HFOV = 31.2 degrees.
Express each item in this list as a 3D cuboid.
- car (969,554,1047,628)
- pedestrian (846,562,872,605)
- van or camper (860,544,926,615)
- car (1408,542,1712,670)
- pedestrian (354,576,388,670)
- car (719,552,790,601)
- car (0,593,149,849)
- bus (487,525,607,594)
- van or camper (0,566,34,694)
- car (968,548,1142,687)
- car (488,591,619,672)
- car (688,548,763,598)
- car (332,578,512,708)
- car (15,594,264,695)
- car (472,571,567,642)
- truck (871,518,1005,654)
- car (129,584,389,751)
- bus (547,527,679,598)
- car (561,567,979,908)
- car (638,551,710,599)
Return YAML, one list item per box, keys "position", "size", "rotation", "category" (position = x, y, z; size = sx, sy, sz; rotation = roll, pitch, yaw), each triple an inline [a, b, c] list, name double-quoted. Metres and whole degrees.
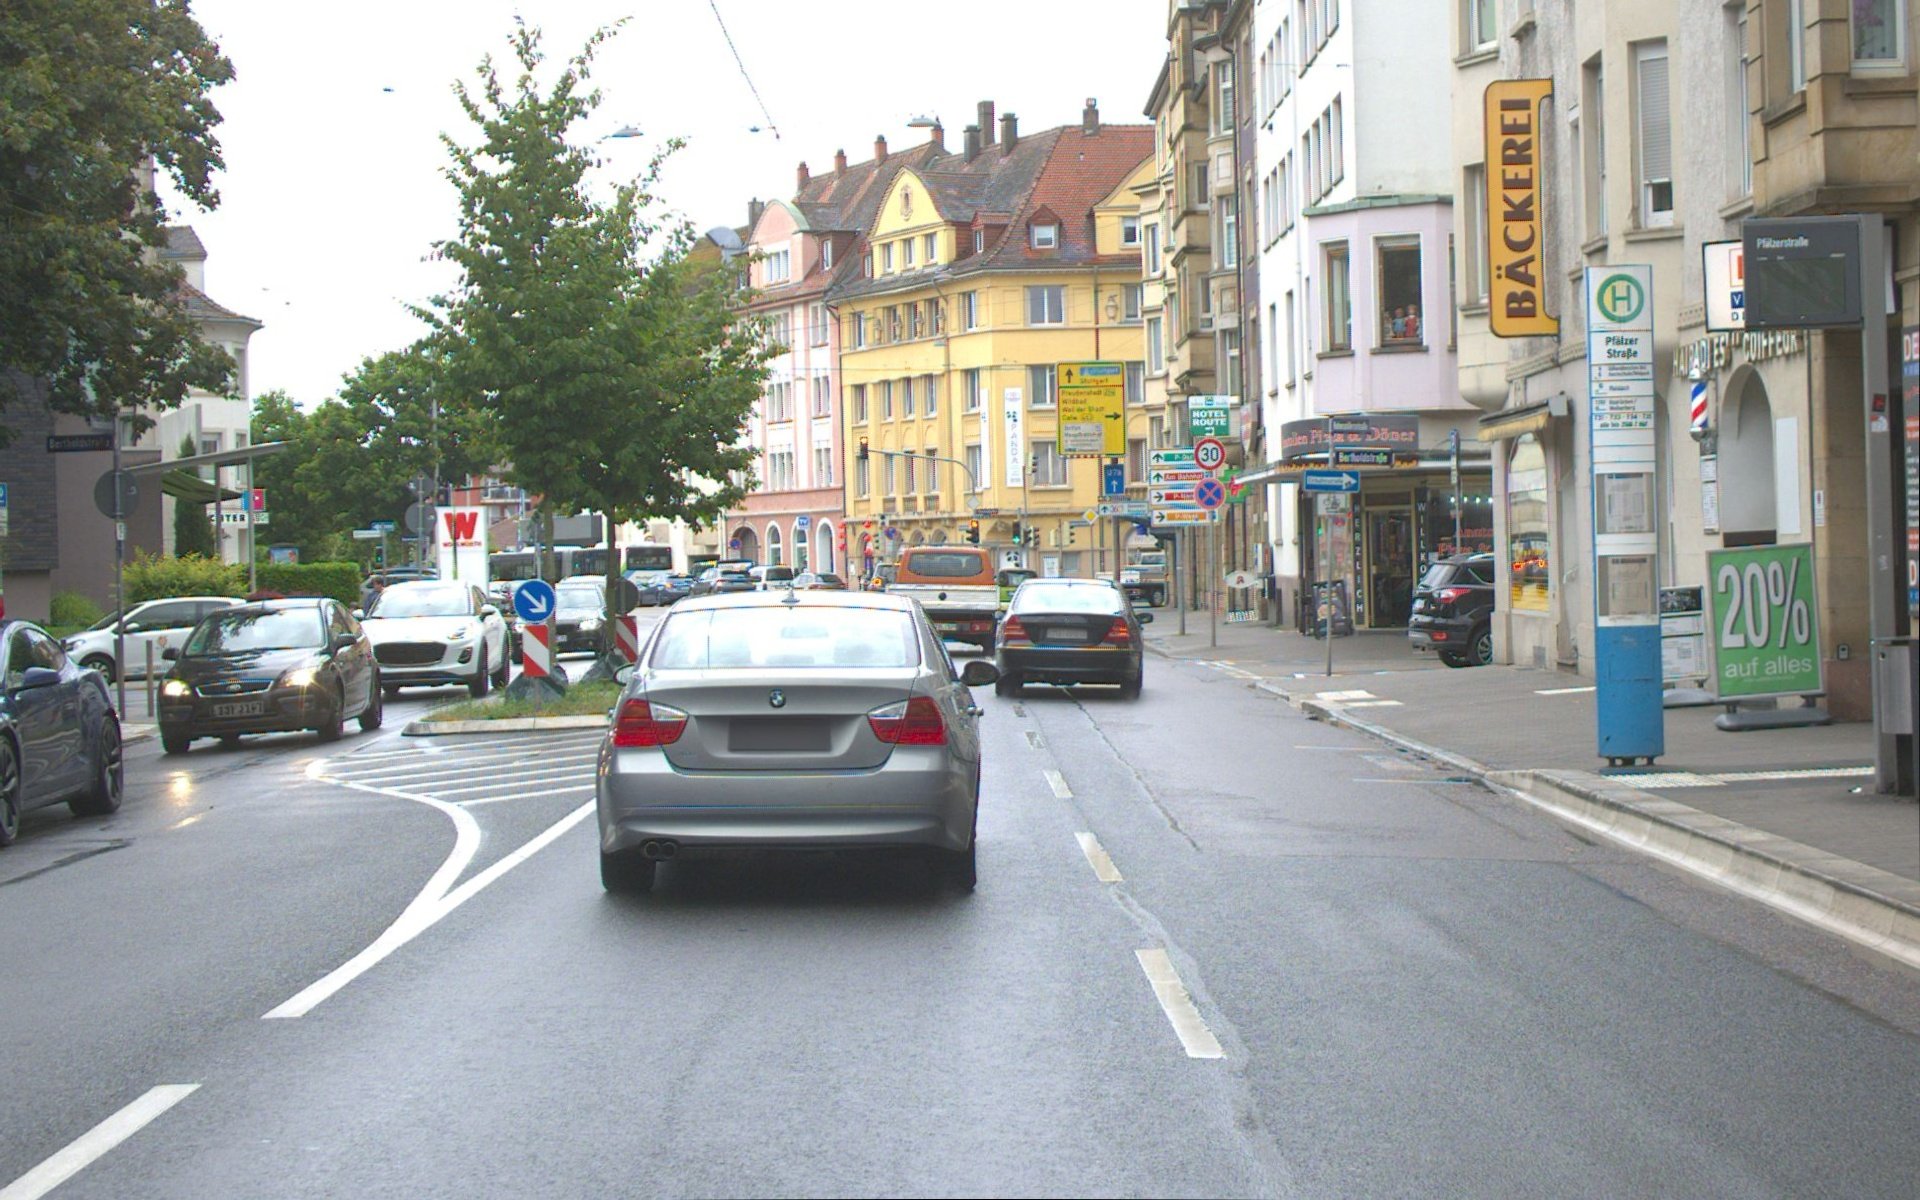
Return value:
- position: [1.326, -0.263, 95.918]
  size: [1.993, 2.007, 4.000]
  rotation: [-1, 0, -1]
  category: "car"
- position: [-3.551, -0.578, 120.717]
  size: [0.760, 1.524, 0.508]
  rotation: [1, -1, -21]
  category: "pedestrian"
- position: [-2.126, -0.653, 107.430]
  size: [1.854, 2.139, 4.143]
  rotation: [1, 1, -3]
  category: "van or camper"
- position: [8.536, 0.077, 49.177]
  size: [4.139, 1.766, 1.873]
  rotation: [0, 1, 6]
  category: "car"
- position: [-11.208, 0.433, 65.392]
  size: [0.574, 1.756, 0.581]
  rotation: [-1, 0, -7]
  category: "pedestrian"
- position: [-9.372, -1.084, 156.465]
  size: [1.761, 2.173, 4.001]
  rotation: [2, 0, -26]
  category: "car"
- position: [-6.873, 0.777, 22.621]
  size: [1.955, 1.506, 4.913]
  rotation: [-3, 1, -1]
  category: "car"
- position: [-19.755, -1.900, 163.955]
  size: [2.908, 3.094, 8.873]
  rotation: [-2, 1, -25]
  category: "bus"
- position: [-17.255, 0.476, 53.895]
  size: [4.951, 2.007, 2.000]
  rotation: [0, 1, -30]
  category: "van or camper"
- position: [1.077, 0.202, 40.809]
  size: [1.799, 1.558, 4.000]
  rotation: [-1, 0, -2]
  category: "car"
- position: [-7.888, 0.588, 67.027]
  size: [2.013, 1.421, 4.500]
  rotation: [-2, 1, 0]
  category: "car"
- position: [-9.750, -1.113, 142.728]
  size: [1.993, 2.007, 4.001]
  rotation: [-1, 1, -21]
  category: "car"
- position: [-7.198, 0.543, 46.357]
  size: [1.819, 1.563, 4.089]
  rotation: [-3, 1, -2]
  category: "car"
- position: [-13.352, 0.703, 55.987]
  size: [3.577, 1.564, 1.741]
  rotation: [-1, 1, -33]
  category: "car"
- position: [-11.344, 0.153, 88.356]
  size: [1.947, 1.653, 4.058]
  rotation: [2, 1, -13]
  category: "car"
- position: [-0.405, -0.254, 59.588]
  size: [2.224, 2.242, 5.063]
  rotation: [0, 1, -1]
  category: "truck"
- position: [-7.156, 0.646, 35.498]
  size: [1.955, 1.551, 4.244]
  rotation: [-1, 1, -2]
  category: "car"
- position: [-15.777, -1.674, 155.827]
  size: [2.908, 3.094, 9.144]
  rotation: [-2, 1, -26]
  category: "bus"
- position: [-0.818, 0.630, 17.088]
  size: [1.799, 1.459, 4.370]
  rotation: [-1, -1, 0]
  category: "car"
- position: [-12.336, -1.083, 148.217]
  size: [1.993, 2.007, 4.001]
  rotation: [-1, 1, -22]
  category: "car"
